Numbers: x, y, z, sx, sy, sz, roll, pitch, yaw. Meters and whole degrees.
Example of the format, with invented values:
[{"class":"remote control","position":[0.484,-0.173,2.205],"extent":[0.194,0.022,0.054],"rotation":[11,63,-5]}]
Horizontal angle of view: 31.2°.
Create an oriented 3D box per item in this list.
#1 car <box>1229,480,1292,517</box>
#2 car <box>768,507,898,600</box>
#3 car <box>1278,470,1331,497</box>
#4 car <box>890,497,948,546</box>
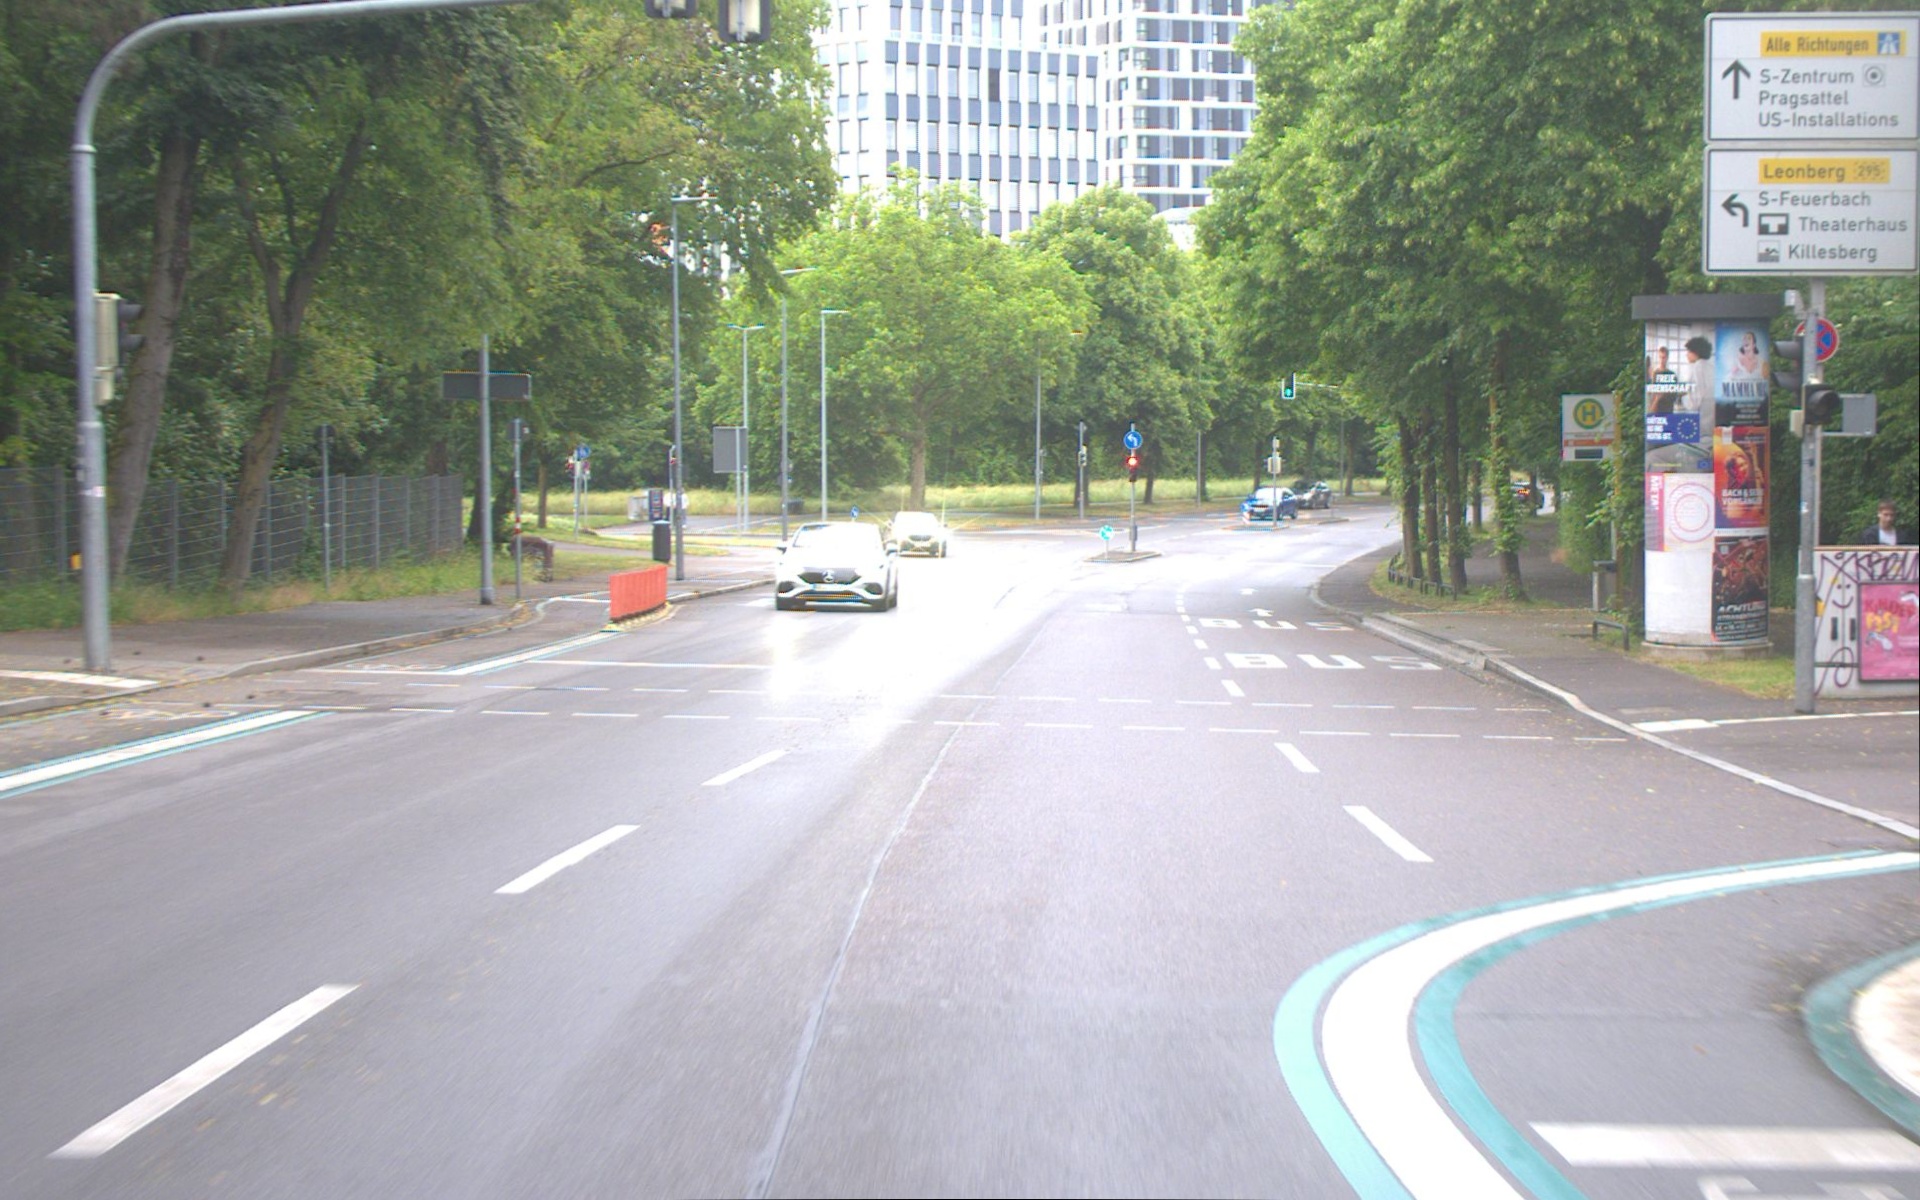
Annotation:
[{"class":"car","position":[13.977,-4.706,159.500],"extent":[1.995,1.679,3.996],"rotation":[1,1,19]},{"class":"car","position":[-2.158,-0.834,59.330],"extent":[1.843,1.452,4.500],"rotation":[1,2,3]},{"class":"car","position":[17.517,-5.907,174.670],"extent":[1.810,1.282,3.736],"rotation":[2,2,20]},{"class":"car","position":[-1.324,-2.576,112.815],"extent":[1.602,1.437,4.000],"rotation":[2,3,3]}]
